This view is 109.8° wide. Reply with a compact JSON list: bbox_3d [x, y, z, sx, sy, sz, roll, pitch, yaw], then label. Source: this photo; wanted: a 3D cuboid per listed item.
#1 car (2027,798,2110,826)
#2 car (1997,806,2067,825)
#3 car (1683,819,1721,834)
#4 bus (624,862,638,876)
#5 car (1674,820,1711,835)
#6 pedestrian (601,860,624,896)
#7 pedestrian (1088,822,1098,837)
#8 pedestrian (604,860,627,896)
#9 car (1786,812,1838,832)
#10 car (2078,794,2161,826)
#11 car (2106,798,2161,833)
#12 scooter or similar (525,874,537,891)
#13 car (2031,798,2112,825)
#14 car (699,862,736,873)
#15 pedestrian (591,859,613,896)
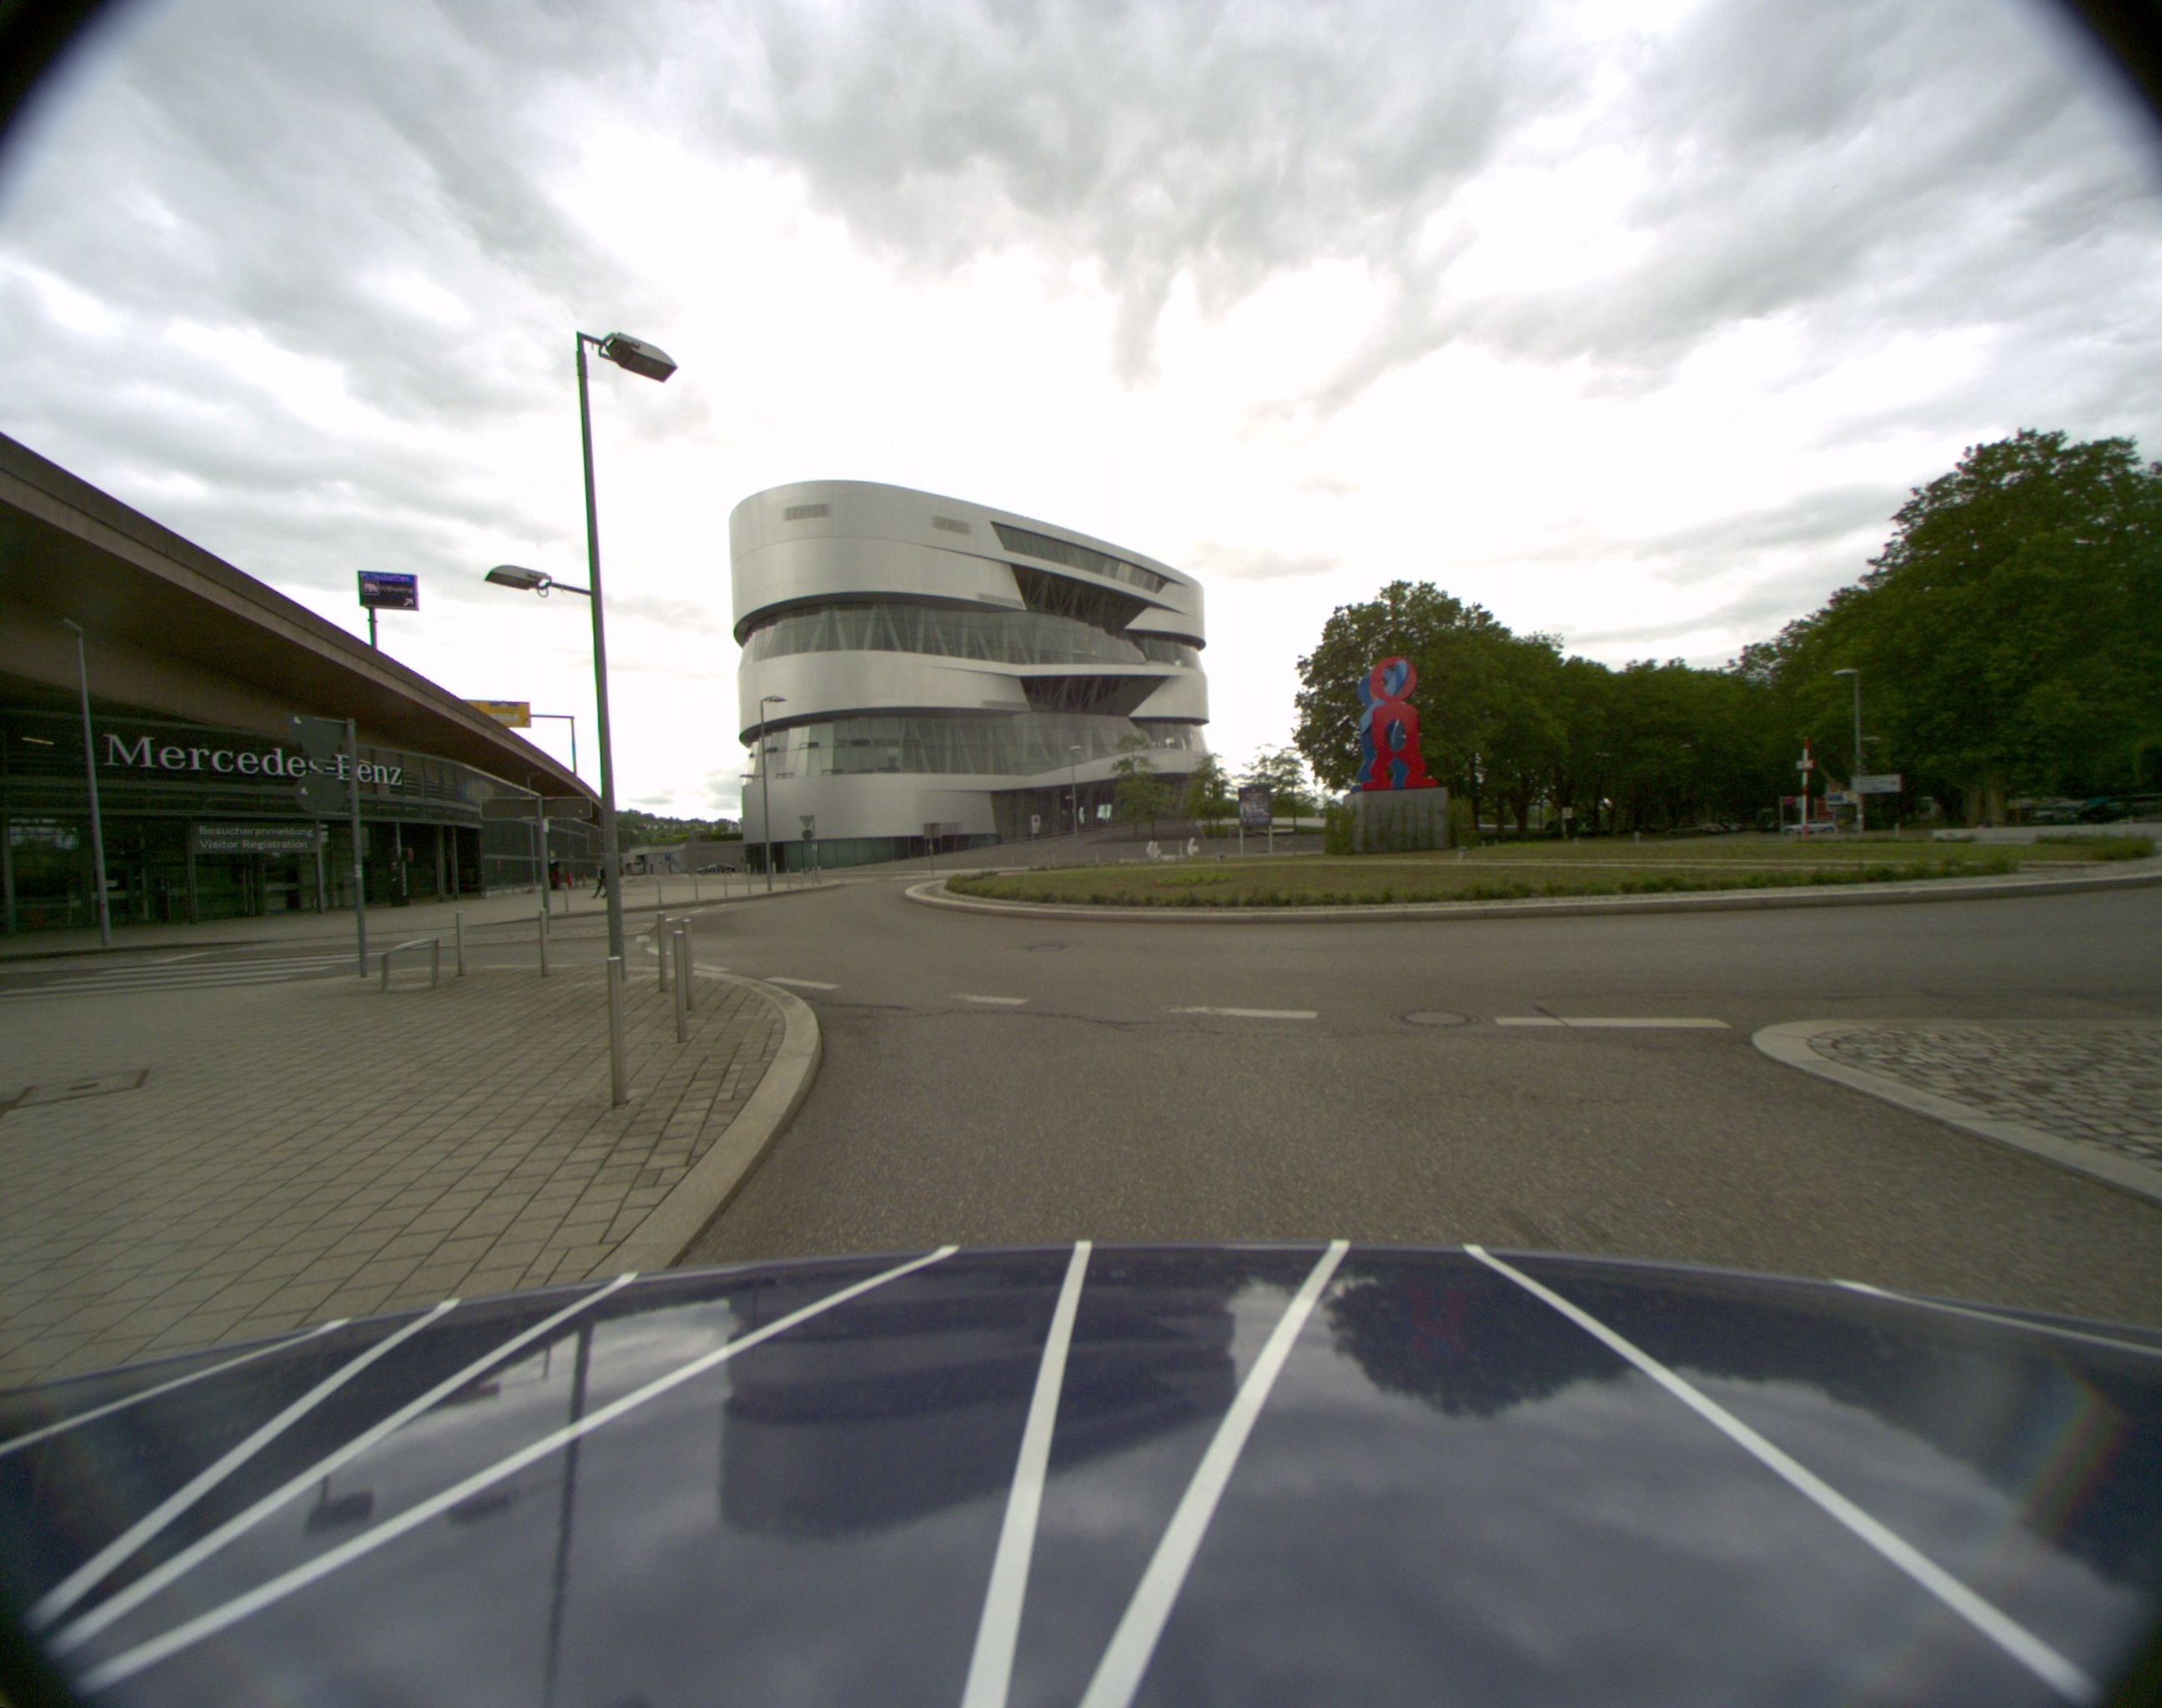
[{"bbox_3d":[75.251,-3.174,57.941,1.673,1.767,3.703,-2,-1,-35],"label":"car"},{"bbox_3d":[91.400,-3.684,73.072,1.875,1.509,3.998,-2,-1,-33],"label":"car"},{"bbox_3d":[81.262,-3.577,99.507,1.690,1.838,3.442,-4,1,-33],"label":"car"},{"bbox_3d":[-115.907,3.909,195.697,2.936,3.420,6.952,-2,-1,-31],"label":"bus"},{"bbox_3d":[77.666,-3.389,96.546,1.691,1.675,3.441,-4,1,-44],"label":"car"},{"bbox_3d":[-22.943,1.177,37.222,0.774,1.695,0.785,-2,0,-41],"label":"pedestrian"},{"bbox_3d":[1.699,-3.505,108.104,0.954,1.914,0.850,-8,3,-37],"label":"pedestrian"},{"bbox_3d":[-22.382,1.156,36.536,0.774,1.695,0.863,-2,0,-39],"label":"pedestrian"},{"bbox_3d":[76.216,-3.315,79.239,1.673,1.767,3.702,-2,-1,-41],"label":"car"},{"bbox_3d":[65.071,-2.726,47.187,1.673,1.767,3.702,-2,-1,-40],"label":"car"},{"bbox_3d":[51.068,-1.871,35.328,1.783,1.515,3.816,-2,-1,-43],"label":"car"},{"bbox_3d":[-36.633,1.898,50.626,0.381,1.116,1.425,-2,-1,-25],"label":"scooter or similar"},{"bbox_3d":[76.874,-3.265,59.004,1.673,1.767,3.703,-2,-1,-36],"label":"car"},{"bbox_3d":[-54.260,2.018,113.481,4.914,1.390,1.532,-2,-1,-28],"label":"car"},{"bbox_3d":[-23.857,1.150,37.833,0.784,1.787,0.863,-2,0,-36],"label":"pedestrian"}]
